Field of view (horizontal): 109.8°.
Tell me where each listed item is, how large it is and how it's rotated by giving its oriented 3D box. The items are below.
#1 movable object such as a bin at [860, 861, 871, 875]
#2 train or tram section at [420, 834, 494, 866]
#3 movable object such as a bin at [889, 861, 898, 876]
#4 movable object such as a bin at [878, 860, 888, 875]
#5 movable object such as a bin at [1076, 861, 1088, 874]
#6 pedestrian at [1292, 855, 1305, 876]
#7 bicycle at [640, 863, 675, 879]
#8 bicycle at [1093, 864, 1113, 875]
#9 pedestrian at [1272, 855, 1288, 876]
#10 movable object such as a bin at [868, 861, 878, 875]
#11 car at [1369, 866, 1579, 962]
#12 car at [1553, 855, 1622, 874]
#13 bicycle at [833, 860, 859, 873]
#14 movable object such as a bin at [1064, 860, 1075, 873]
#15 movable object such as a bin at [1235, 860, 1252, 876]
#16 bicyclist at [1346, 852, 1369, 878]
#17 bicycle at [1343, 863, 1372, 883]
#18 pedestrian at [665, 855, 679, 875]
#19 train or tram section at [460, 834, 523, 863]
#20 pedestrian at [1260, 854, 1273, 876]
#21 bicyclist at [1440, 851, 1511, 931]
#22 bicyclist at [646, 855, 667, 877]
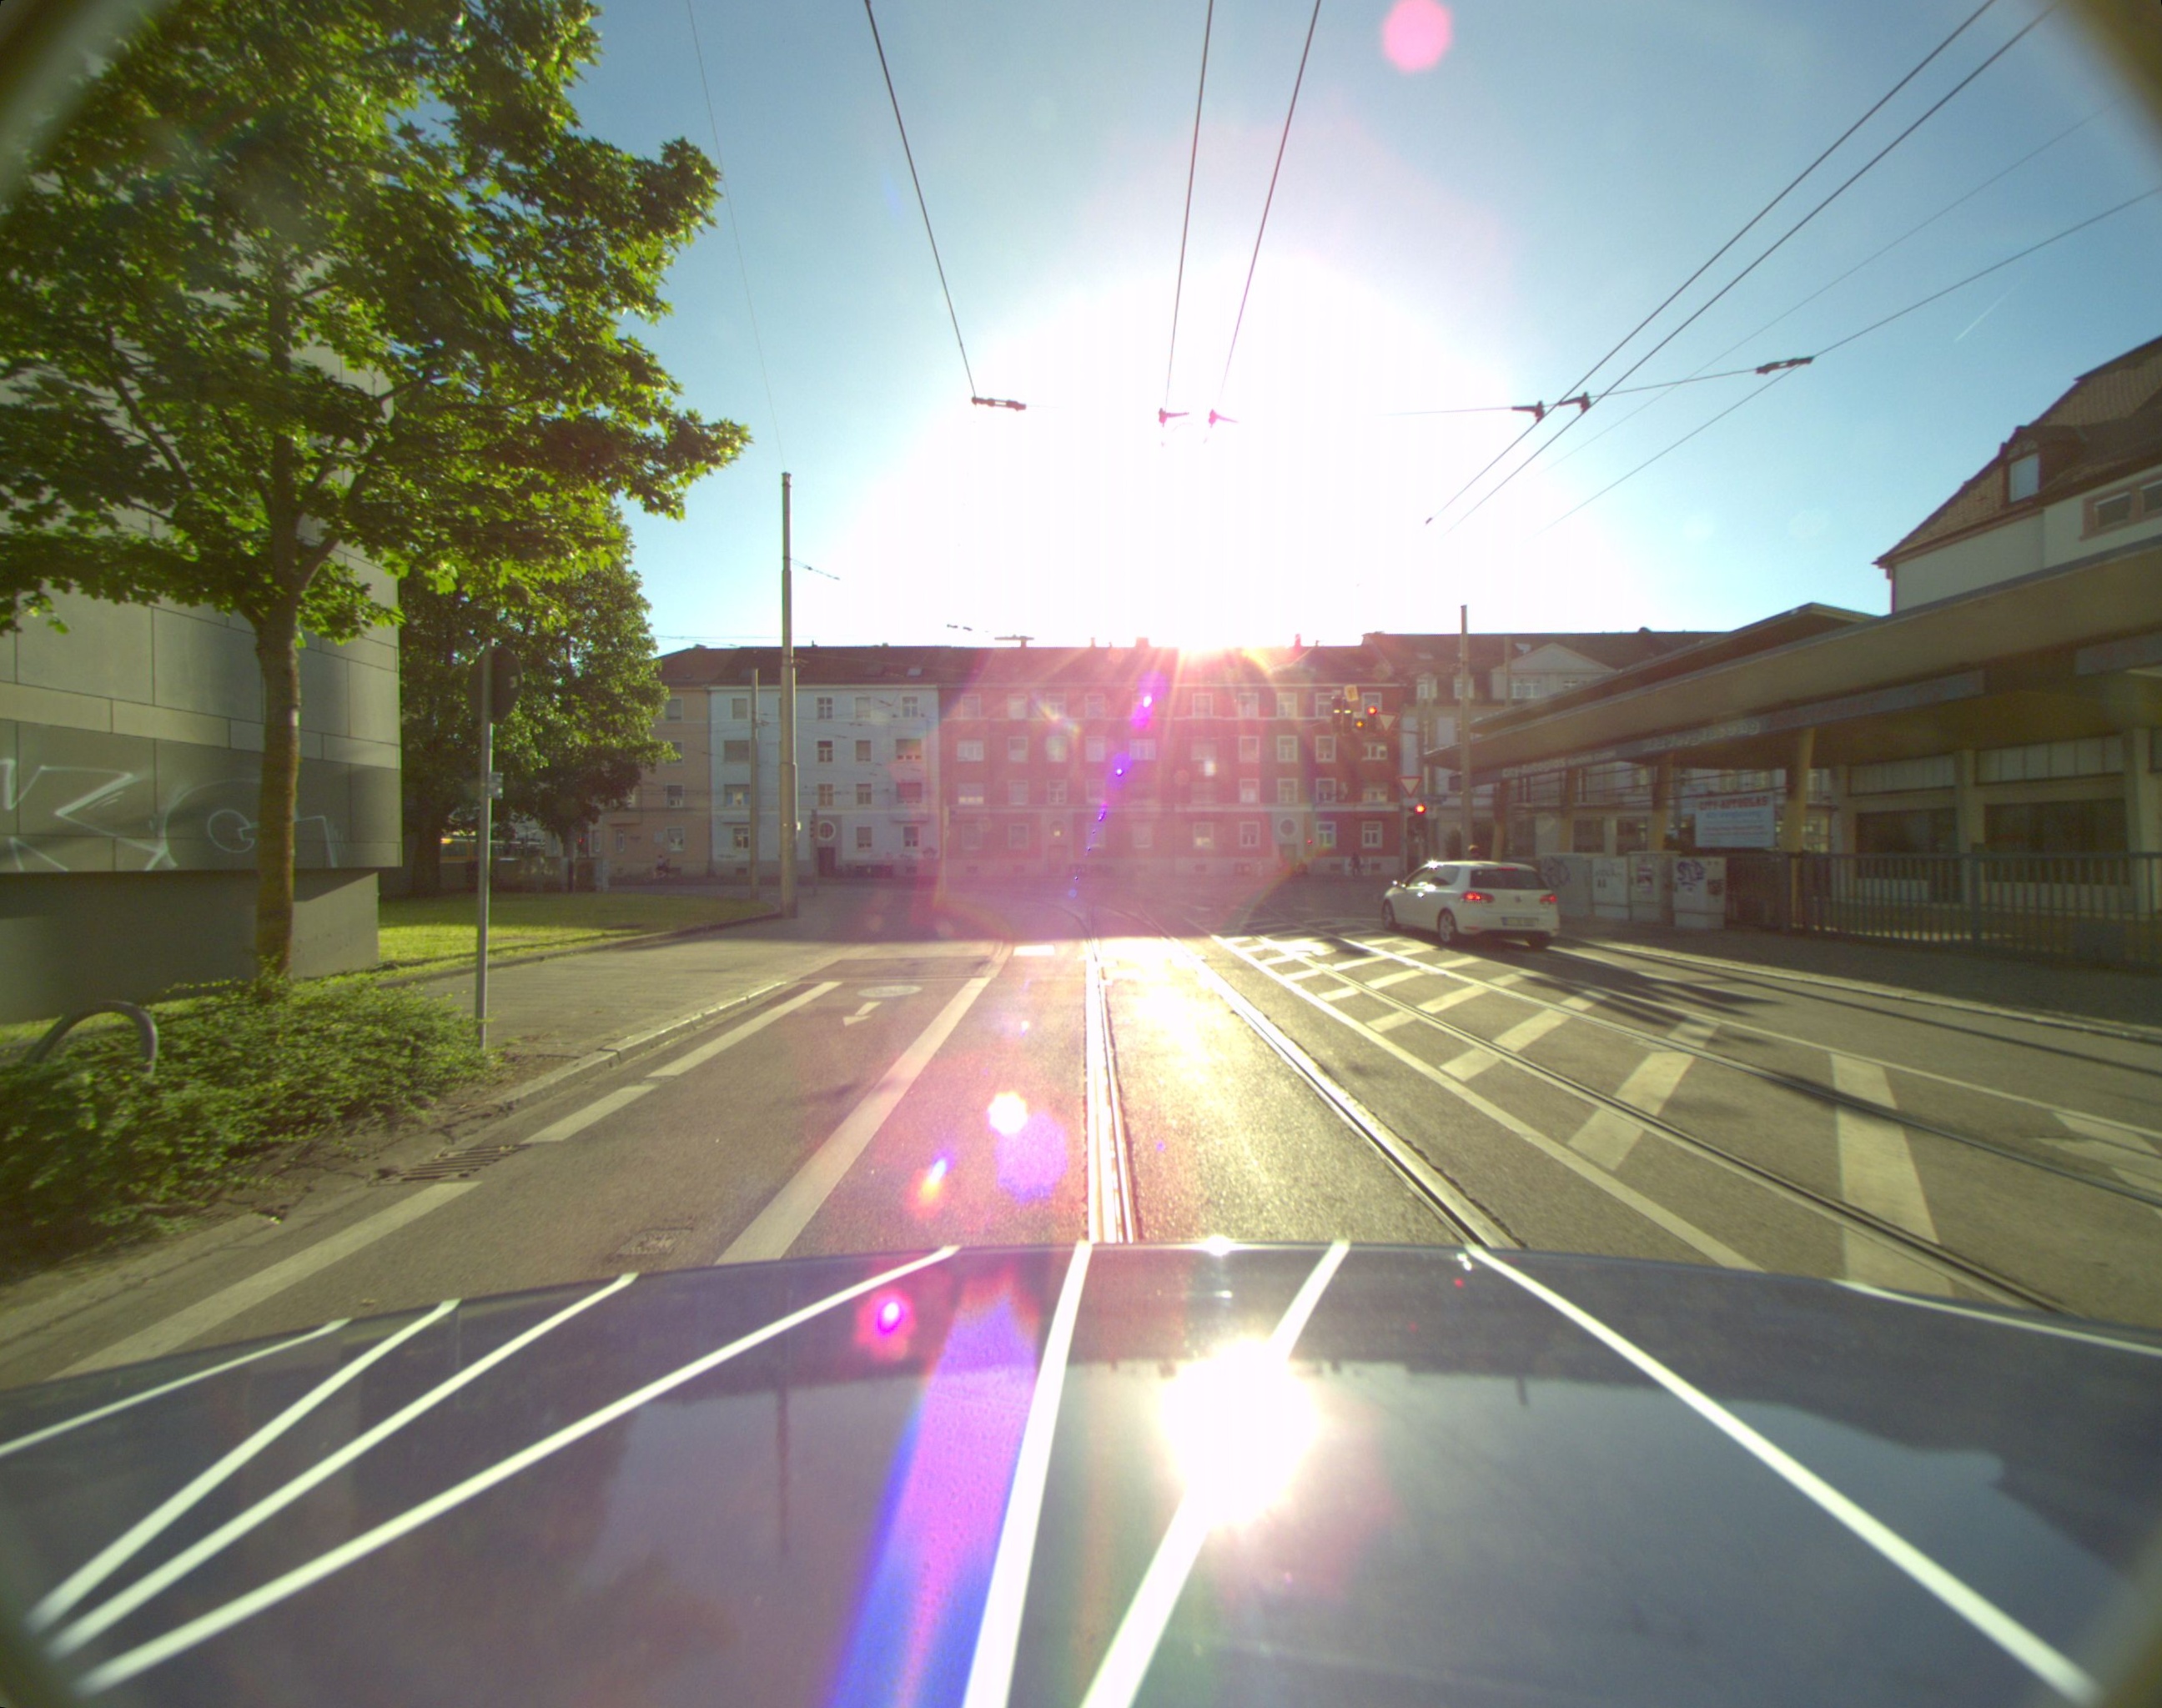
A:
[{"bbox_3d":[-16.678,1.080,58.825,0.648,1.100,0.704,0,1,-1],"label":"movable object such as a bin"},{"bbox_3d":[-68.379,-0.541,83.583,3.169,3.337,10.658,0,1,-22],"label":"train or tram section"},{"bbox_3d":[-14.527,1.125,58.858,0.582,1.100,0.704,0,1,0],"label":"movable object such as a bin"},{"bbox_3d":[-15.346,1.059,58.878,0.582,1.100,0.704,0,1,0],"label":"movable object such as a bin"},{"bbox_3d":[0.072,1.052,58.846,0.811,1.034,0.845,0,0,-5],"label":"movable object such as a bin"},{"bbox_3d":[16.882,0.915,59.008,0.797,1.624,0.653,-1,1,-33],"label":"pedestrian"},{"bbox_3d":[-31.488,1.244,56.463,2.151,1.184,0.749,0,0,0],"label":"bicycle"},{"bbox_3d":[1.716,1.204,59.205,1.602,0.885,0.335,0,1,4],"label":"bicycle"},{"bbox_3d":[15.399,0.906,58.761,0.797,1.624,0.829,-1,1,-38],"label":"pedestrian"},{"bbox_3d":[-16.135,1.092,58.875,0.582,1.100,0.704,0,1,0],"label":"movable object such as a bin"},{"bbox_3d":[7.086,0.993,14.267,1.795,1.449,4.190,1,0,1],"label":"car"},{"bbox_3d":[37.895,0.779,56.871,3.997,1.443,1.725,0,0,-1],"label":"car"},{"bbox_3d":[-18.206,1.002,58.893,1.876,0.974,0.607,0,2,-1],"label":"bicycle"},{"bbox_3d":[-0.861,0.980,58.813,0.811,1.034,0.845,0,0,-5],"label":"movable object such as a bin"},{"bbox_3d":[12.674,1.065,59.195,1.232,1.242,0.874,0,0,6],"label":"movable object such as a bin"},{"bbox_3d":[16.360,0.644,44.973,0.879,1.517,1.050,0,0,-5],"label":"bicyclist"},{"bbox_3d":[16.342,1.118,44.985,0.896,1.119,2.064,0,0,-4],"label":"bicycle"},{"bbox_3d":[-31.348,0.859,58.224,0.719,1.554,0.677,0,1,1],"label":"pedestrian"},{"bbox_3d":[-72.295,-0.754,93.517,3.169,3.337,10.827,0,1,-22],"label":"train or tram section"},{"bbox_3d":[14.303,0.848,58.708,0.655,1.624,0.794,0,1,-22],"label":"pedestrian"},{"bbox_3d":[9.058,0.821,17.502,0.911,1.776,1.253,0,0,-5],"label":"bicyclist"},{"bbox_3d":[-31.509,0.859,56.464,1.125,1.633,0.749,0,1,0],"label":"bicyclist"}]
